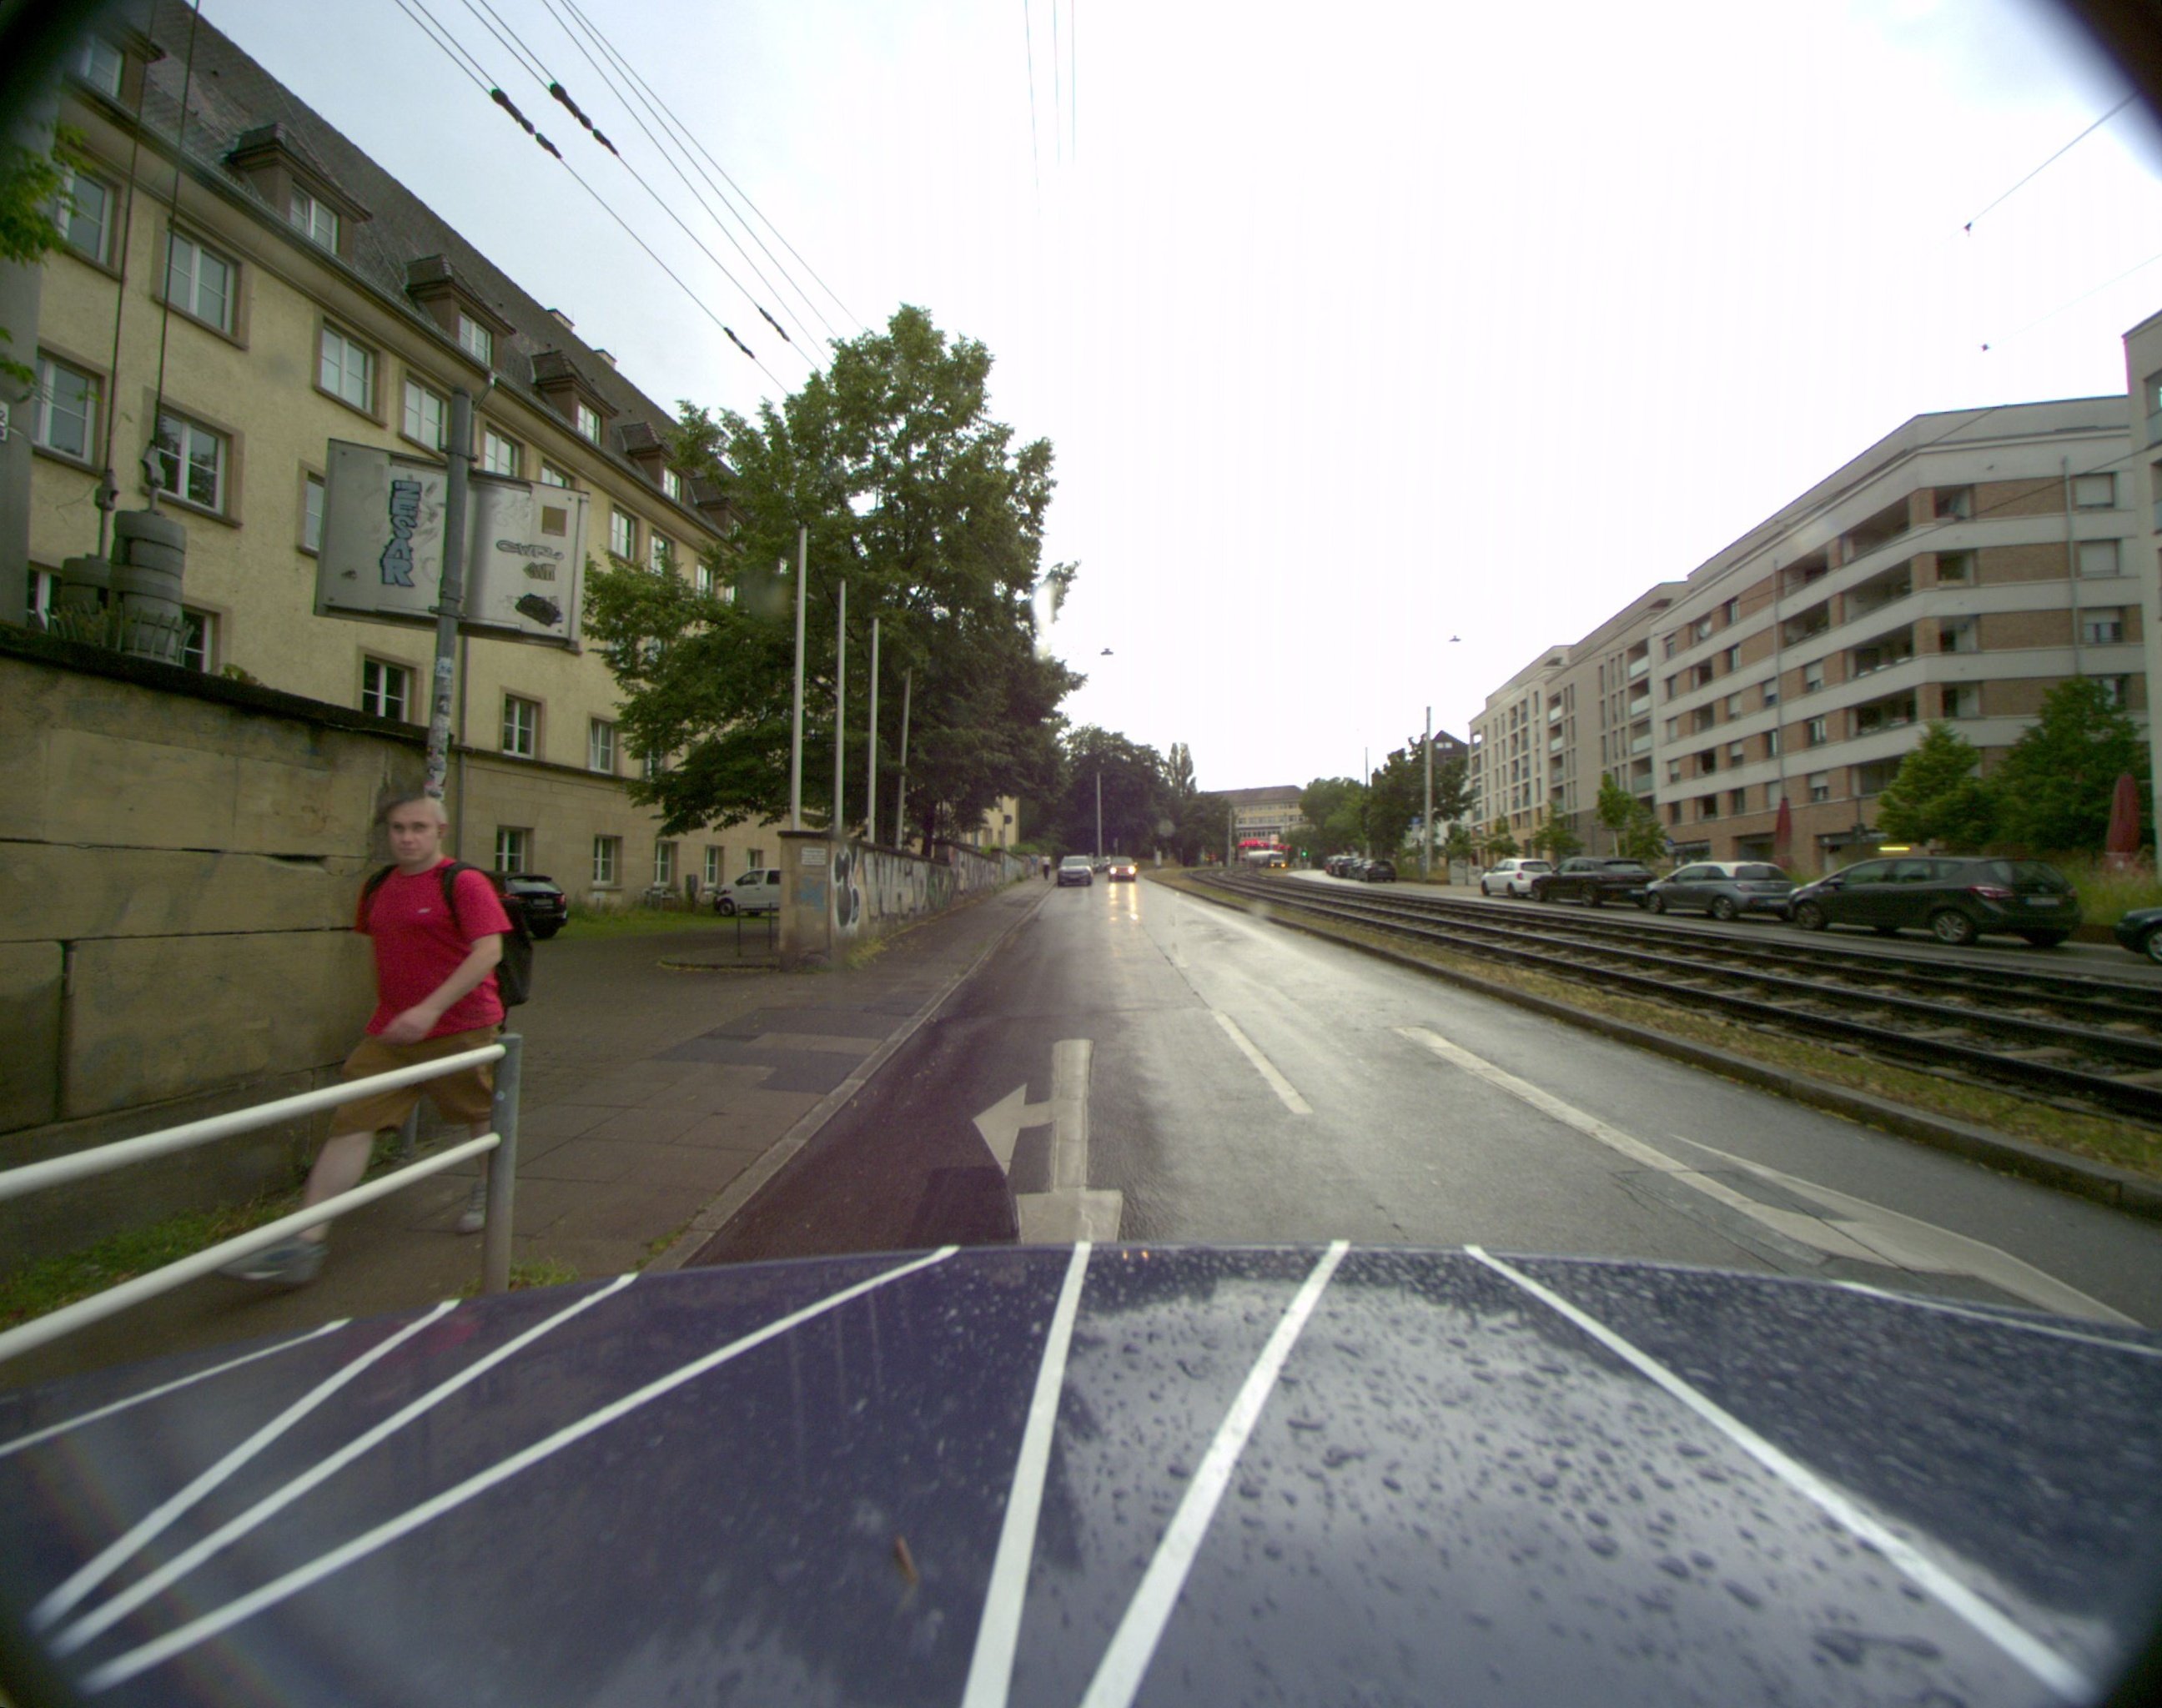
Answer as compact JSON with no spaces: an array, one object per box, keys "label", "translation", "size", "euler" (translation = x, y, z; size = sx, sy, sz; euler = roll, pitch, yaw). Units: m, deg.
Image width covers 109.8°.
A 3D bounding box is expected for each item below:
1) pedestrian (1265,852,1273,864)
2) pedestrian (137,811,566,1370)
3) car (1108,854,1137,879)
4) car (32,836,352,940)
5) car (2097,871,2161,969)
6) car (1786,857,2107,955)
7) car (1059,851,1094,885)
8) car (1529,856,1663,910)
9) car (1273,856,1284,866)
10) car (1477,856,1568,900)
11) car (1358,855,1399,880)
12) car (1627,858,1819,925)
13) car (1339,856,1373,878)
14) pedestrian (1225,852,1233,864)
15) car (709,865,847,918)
[{"label":"pedestrian","translation":[27.476,0.580,110.918],"size":[0.818,1.754,0.748],"euler":[2,0,-7]},{"label":"pedestrian","translation":[-2.595,0.756,2.821],"size":[0.748,1.754,0.818],"euler":[2,0,0]},{"label":"car","translation":[2.554,0.748,47.099],"size":[1.594,1.455,3.669],"euler":[0,1,0]},{"label":"car","translation":[-14.328,0.530,12.320],"size":[3.910,1.461,1.614],"euler":[-2,1,11]},{"label":"car","translation":[16.358,0.960,9.593],"size":[1.684,1.372,4.032],"euler":[-1,0,0]},{"label":"car","translation":[16.209,0.869,14.594],"size":[1.684,1.554,3.928],"euler":[-1,0,0]},{"label":"car","translation":[-0.236,0.726,41.045],"size":[1.726,1.676,3.866],"euler":[-3,1,0]},{"label":"car","translation":[16.564,0.869,24.726],"size":[1.683,1.496,4.406],"euler":[-1,0,5]},{"label":"car","translation":[34.512,1.172,132.813],"size":[1.666,1.597,3.812],"euler":[-2,1,16]},{"label":"car","translation":[17.075,0.886,29.608],"size":[1.649,1.496,3.782],"euler":[-1,0,6]},{"label":"car","translation":[19.028,0.843,48.708],"size":[1.653,1.455,3.672],"euler":[-2,1,9]},{"label":"car","translation":[16.543,0.895,19.862],"size":[1.684,1.496,3.928],"euler":[-1,0,0]},{"label":"car","translation":[20.436,0.931,56.616],"size":[1.653,1.455,3.672],"euler":[-2,1,9]},{"label":"pedestrian","translation":[21.975,0.622,112.572],"size":[0.816,1.754,0.751],"euler":[2,0,40]},{"label":"car","translation":[-11.495,1.408,28.894],"size":[4.526,1.769,1.824],"euler":[-2,1,11]}]
